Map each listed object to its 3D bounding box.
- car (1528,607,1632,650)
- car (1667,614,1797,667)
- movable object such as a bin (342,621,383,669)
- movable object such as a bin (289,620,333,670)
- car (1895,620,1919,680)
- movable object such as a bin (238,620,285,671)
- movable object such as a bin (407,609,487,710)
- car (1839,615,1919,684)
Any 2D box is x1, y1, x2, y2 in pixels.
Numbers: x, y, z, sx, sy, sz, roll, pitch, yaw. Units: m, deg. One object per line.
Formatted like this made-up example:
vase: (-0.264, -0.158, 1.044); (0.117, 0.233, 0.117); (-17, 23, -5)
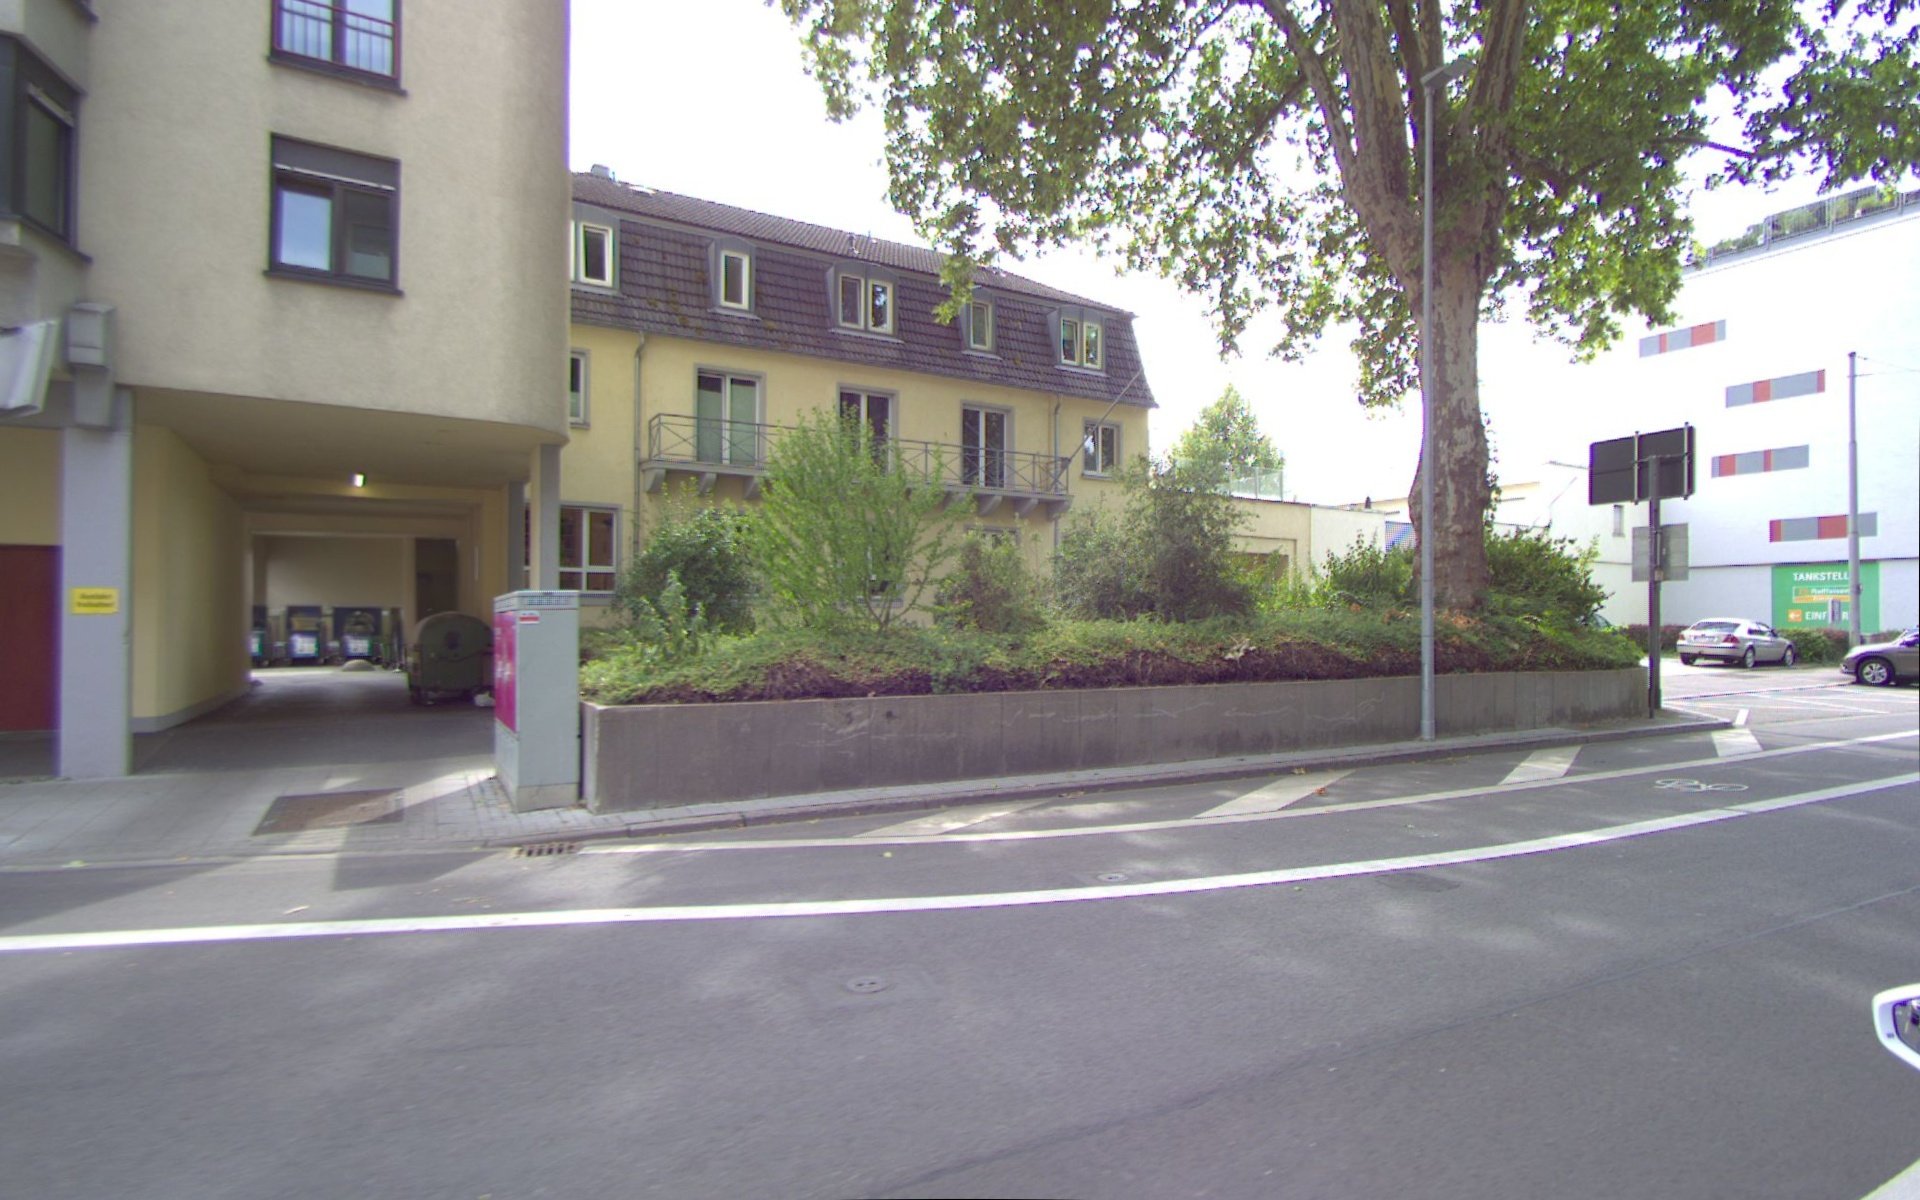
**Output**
car: (22.097, 0.966, 35.762); (3.960, 1.350, 1.800); (-1, 1, -36)
car: (24.083, 1.209, 31.303); (4.183, 1.539, 1.749); (0, 0, -30)
movable object such as a bin: (-18.492, 1.376, 31.112); (1.054, 1.468, 1.137); (1, -1, -31)
movable object such as a bin: (-19.699, 1.353, 30.516); (1.054, 1.468, 1.137); (1, -1, -31)
car: (27.168, 1.374, 26.044); (1.731, 1.591, 3.926); (0, 1, -27)
movable object such as a bin: (-20.794, 1.340, 29.914); (1.054, 1.468, 1.137); (1, -1, -31)
movable object such as a bin: (-8.327, 0.935, 16.286); (1.054, 1.561, 1.136); (1, -1, -32)
car: (24.893, 1.256, 24.923); (1.944, 1.627, 4.238); (-1, 1, -28)
